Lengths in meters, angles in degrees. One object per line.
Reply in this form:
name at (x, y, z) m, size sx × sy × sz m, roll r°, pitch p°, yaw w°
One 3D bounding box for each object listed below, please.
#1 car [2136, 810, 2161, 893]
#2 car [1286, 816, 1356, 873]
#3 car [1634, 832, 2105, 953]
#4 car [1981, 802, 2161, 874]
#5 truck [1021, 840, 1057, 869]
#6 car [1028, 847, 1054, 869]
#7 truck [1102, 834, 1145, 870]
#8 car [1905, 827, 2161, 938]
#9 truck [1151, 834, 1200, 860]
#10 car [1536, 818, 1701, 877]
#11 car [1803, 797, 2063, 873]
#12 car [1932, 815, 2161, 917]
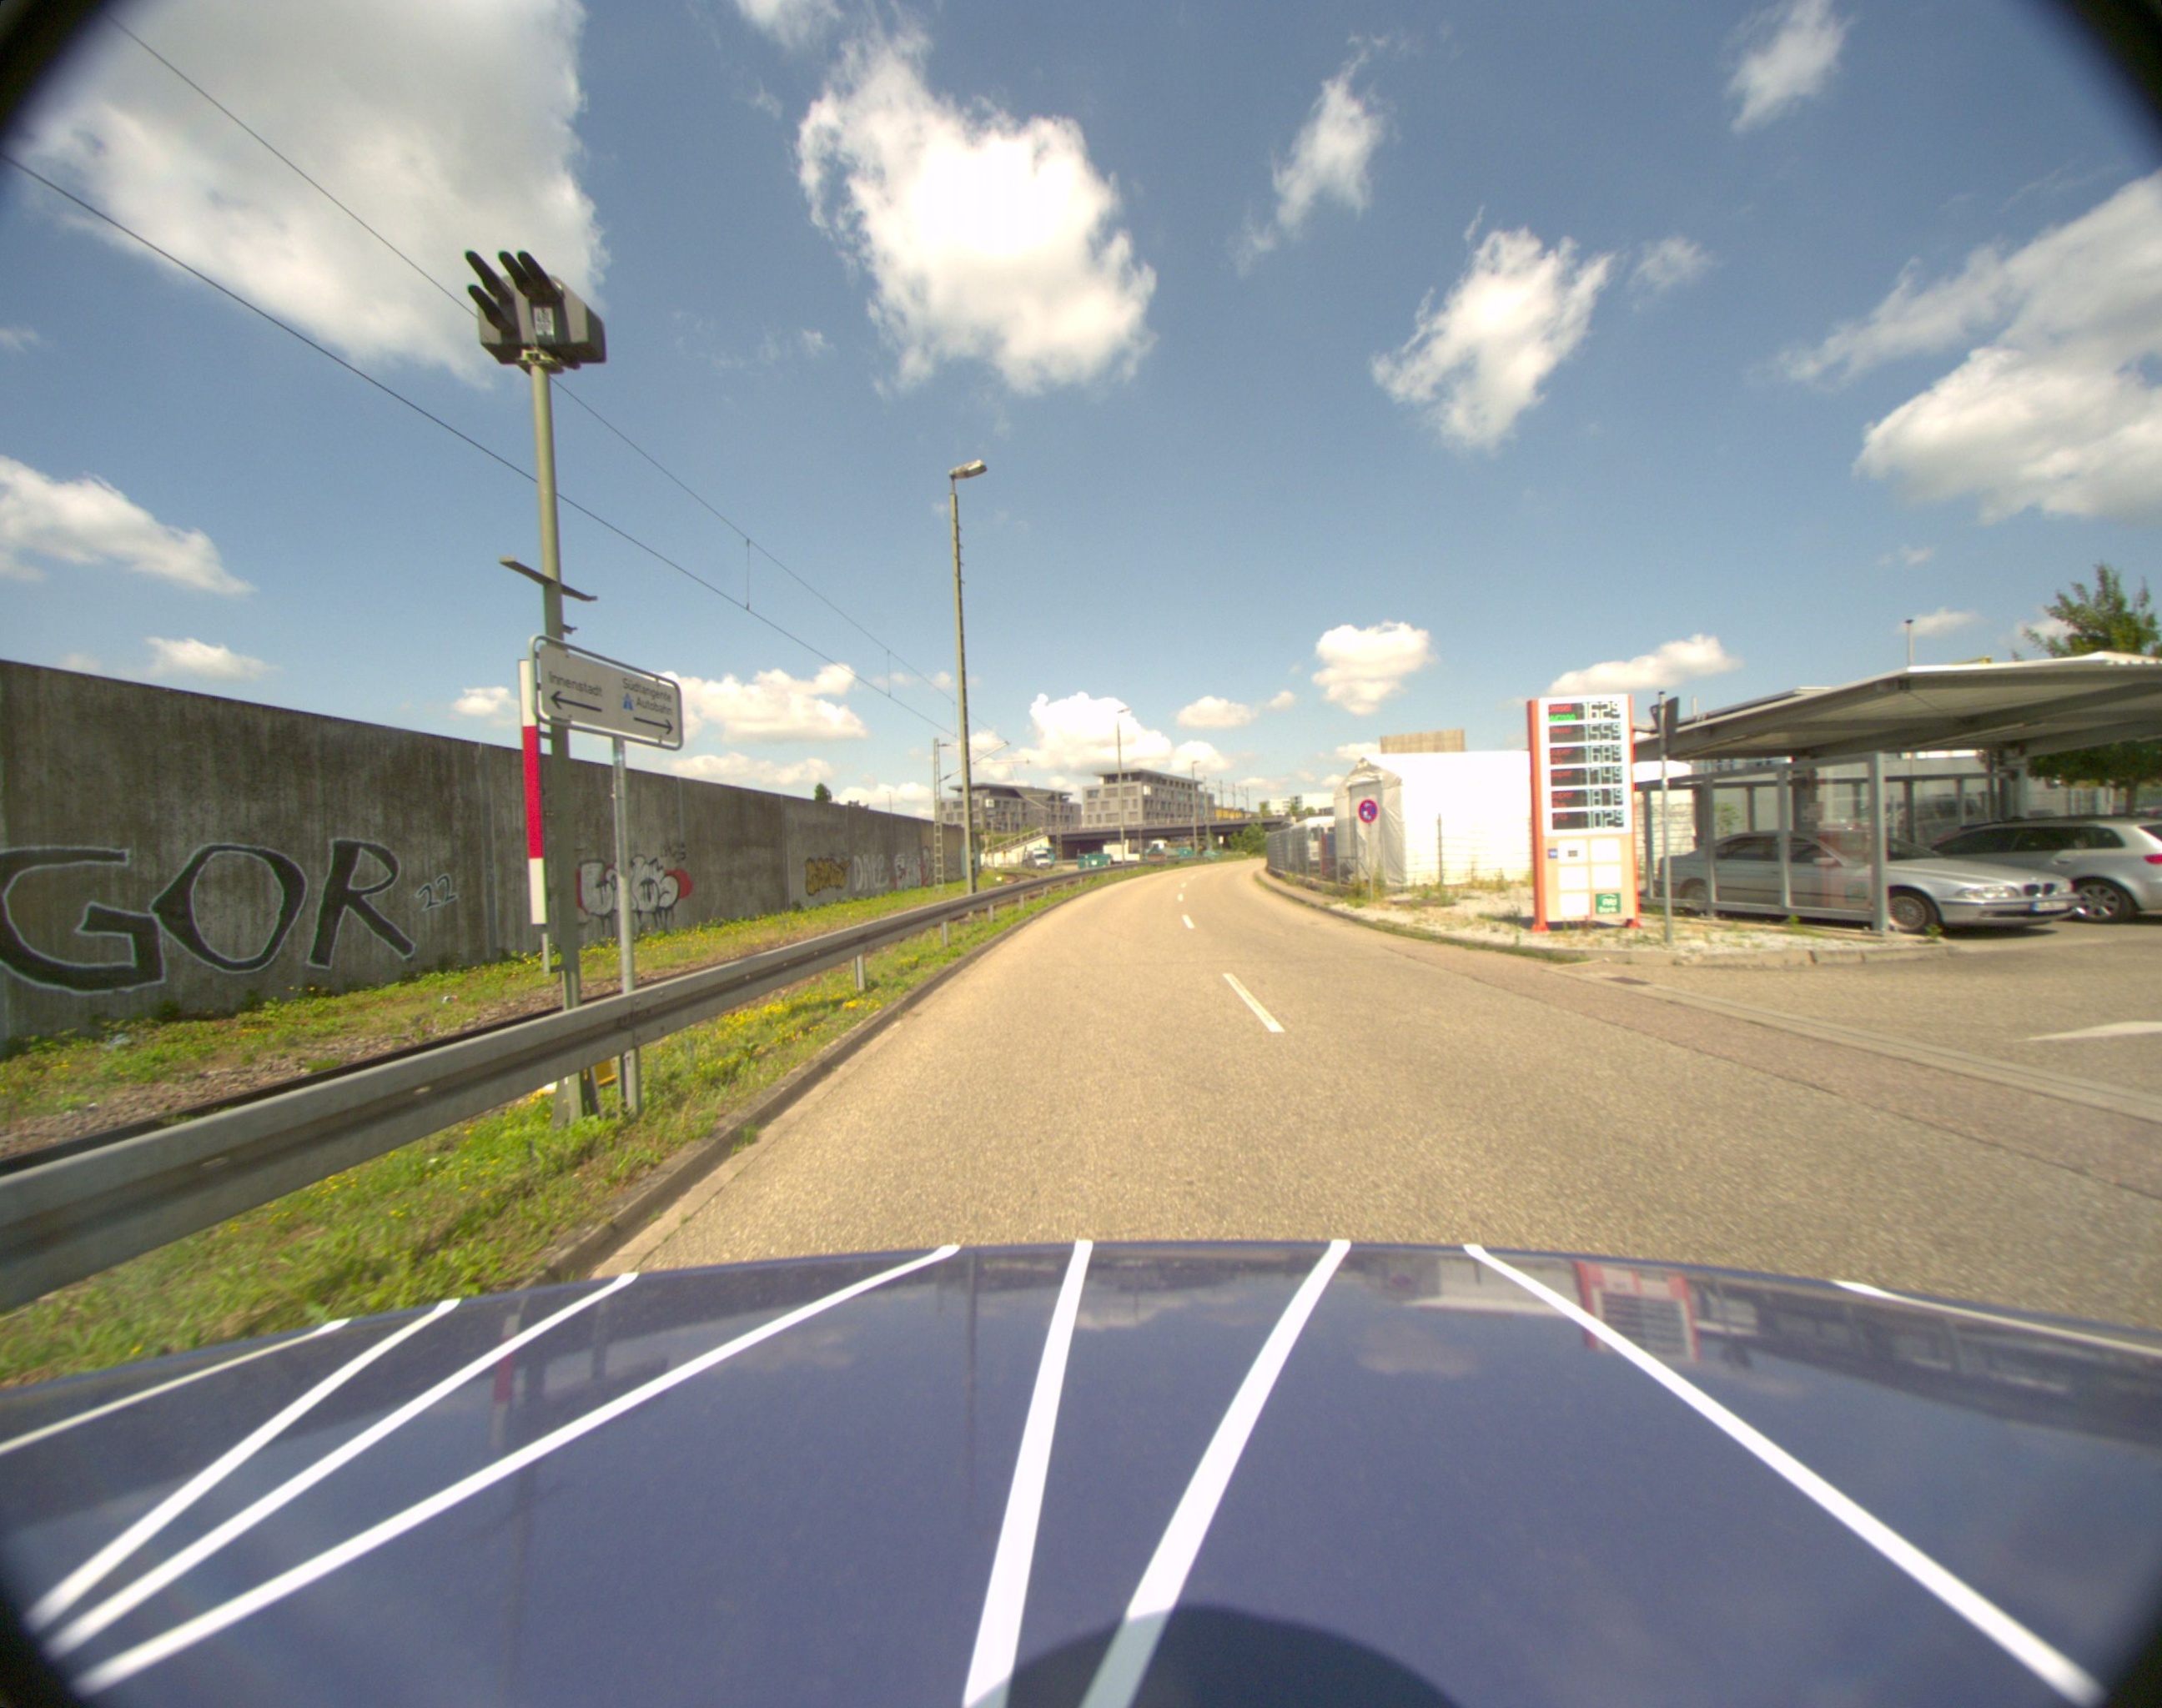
car at (19.731, -0.055, 11.336) m, size 1.895 × 1.429 × 4.313 m, roll -2°, pitch 1°, yaw -5°
car at (11.743, -0.442, 37.719) m, size 2.123 × 2.522 × 6.720 m, roll -2°, pitch 0°, yaw 7°
car at (11.418, 0.448, 11.665) m, size 1.923 × 1.369 × 4.787 m, roll -3°, pitch 1°, yaw -7°
car at (30.837, -0.505, 23.065) m, size 4.852 × 2.002 × 1.999 m, roll -2°, pitch 1°, yaw -2°
truck at (-5.888, 0.062, 105.912) m, size 2.658 × 3.625 × 6.875 m, roll -5°, pitch 2°, yaw -23°
car at (-5.017, 0.450, 94.578) m, size 2.067 × 2.512 × 5.875 m, roll -4°, pitch 1°, yaw -13°
truck at (4.301, -0.234, 78.520) m, size 2.995 × 3.400 × 8.108 m, roll -2°, pitch 1°, yaw -7°
car at (14.218, 0.330, 10.795) m, size 1.598 × 1.337 × 3.054 m, roll -3°, pitch 1°, yaw -5°
truck at (11.430, -0.840, 92.324) m, size 5.500 × 3.080 × 2.003 m, roll -1°, pitch 1°, yaw 27°
car at (18.067, -0.198, 25.758) m, size 4.403 × 1.822 × 2.004 m, roll -1°, pitch 1°, yaw 35°
car at (25.222, -0.564, 22.611) m, size 5.698 × 2.002 × 1.999 m, roll -2°, pitch 1°, yaw -2°
car at (16.919, 0.146, 12.009) m, size 1.999 × 1.489 × 4.250 m, roll -2°, pitch 0°, yaw -5°
